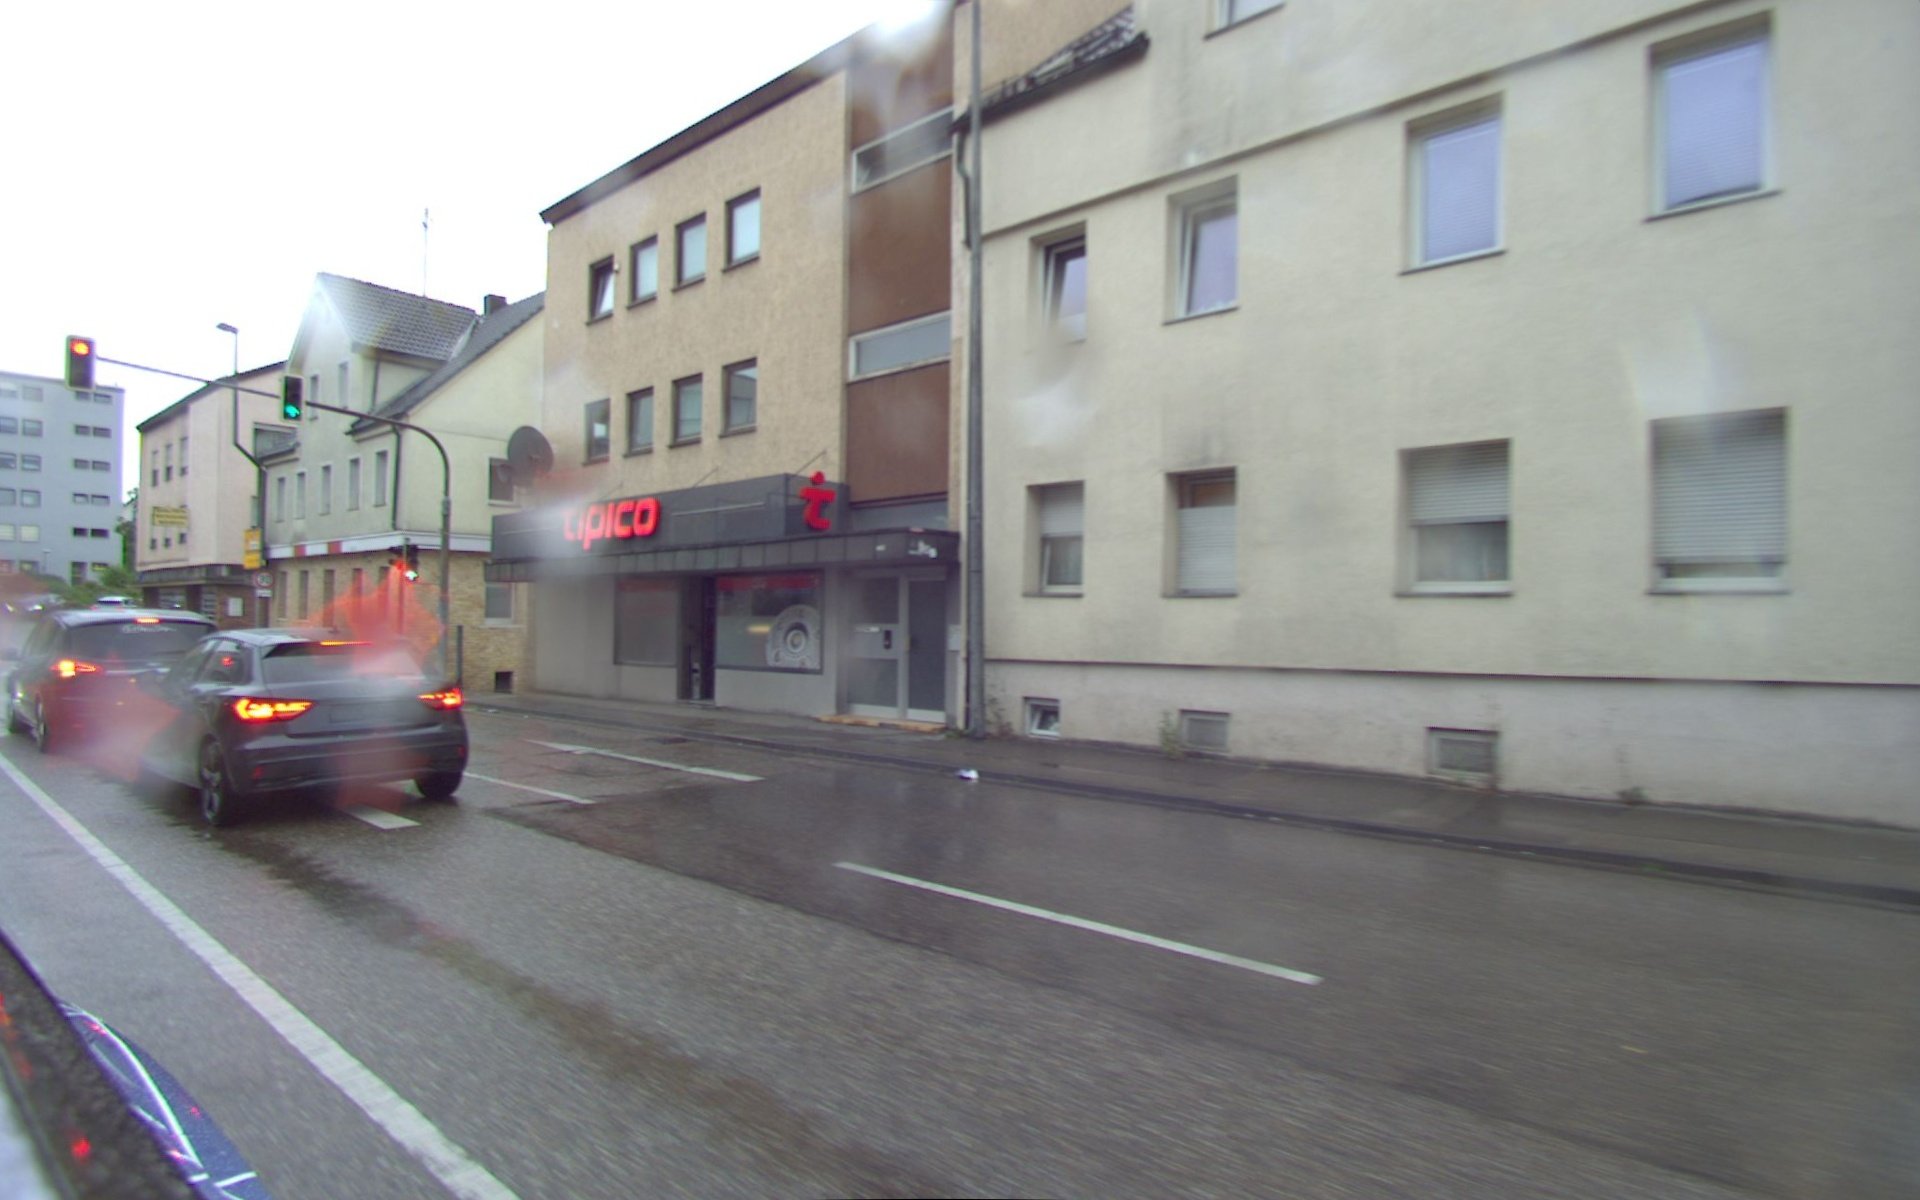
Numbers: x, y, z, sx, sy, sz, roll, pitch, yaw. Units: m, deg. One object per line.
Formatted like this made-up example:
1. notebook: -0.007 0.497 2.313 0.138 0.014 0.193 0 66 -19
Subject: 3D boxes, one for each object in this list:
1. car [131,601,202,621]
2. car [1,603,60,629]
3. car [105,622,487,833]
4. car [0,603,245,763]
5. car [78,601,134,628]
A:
1. car: -60.408 0.841 77.086 1.682 1.472 3.956 -1 -2 32
2. car: -55.917 0.971 60.965 1.659 1.472 4.012 1 -2 -28
3. car: -5.711 0.895 8.568 3.665 1.394 1.690 -1 -2 39
4. car: -10.635 0.931 12.650 4.273 1.657 1.797 -2 -2 41
5. car: -52.678 0.868 62.521 1.929 1.547 4.012 0 0 -30
